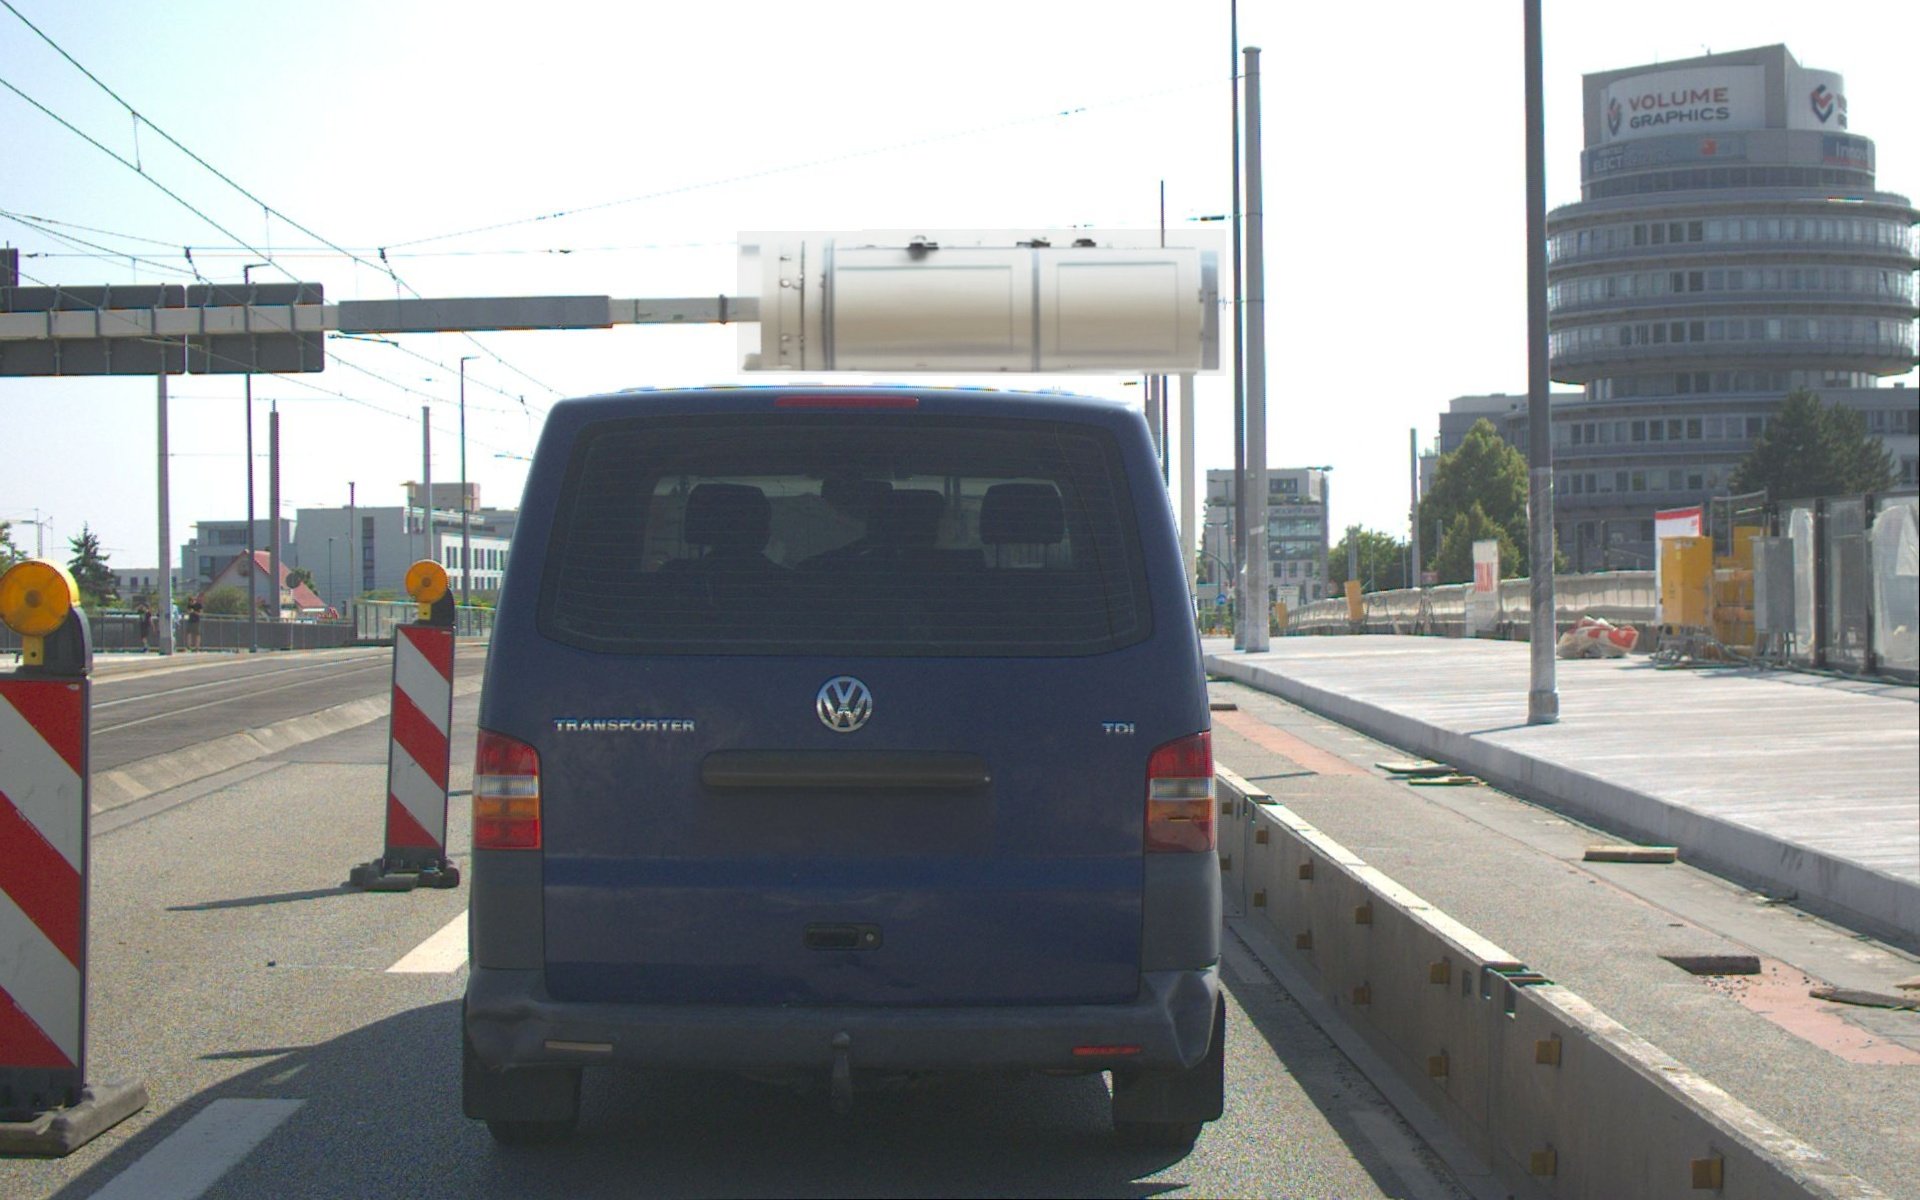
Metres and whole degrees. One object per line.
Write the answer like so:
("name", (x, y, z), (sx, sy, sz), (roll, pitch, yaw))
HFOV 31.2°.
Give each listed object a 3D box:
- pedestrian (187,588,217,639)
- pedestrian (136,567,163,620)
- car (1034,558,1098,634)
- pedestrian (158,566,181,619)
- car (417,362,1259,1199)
("pedestrian", (-24.970, 0.436, 113.247), (0.753, 1.681, 0.731), (-1, 0, 3))
("pedestrian", (-25.916, -0.218, 109.916), (0.597, 1.681, 0.817), (-1, 0, 3))
("car", (4.089, -0.157, 133.670), (2.339, 2.877, 5.970), (1, 0, 1))
("pedestrian", (-25.362, -0.249, 110.278), (0.486, 1.681, 0.808), (-1, 0, 3))
("car", (-0.300, 0.434, 9.855), (1.888, 1.927, 4.000), (1, 0, -1))
